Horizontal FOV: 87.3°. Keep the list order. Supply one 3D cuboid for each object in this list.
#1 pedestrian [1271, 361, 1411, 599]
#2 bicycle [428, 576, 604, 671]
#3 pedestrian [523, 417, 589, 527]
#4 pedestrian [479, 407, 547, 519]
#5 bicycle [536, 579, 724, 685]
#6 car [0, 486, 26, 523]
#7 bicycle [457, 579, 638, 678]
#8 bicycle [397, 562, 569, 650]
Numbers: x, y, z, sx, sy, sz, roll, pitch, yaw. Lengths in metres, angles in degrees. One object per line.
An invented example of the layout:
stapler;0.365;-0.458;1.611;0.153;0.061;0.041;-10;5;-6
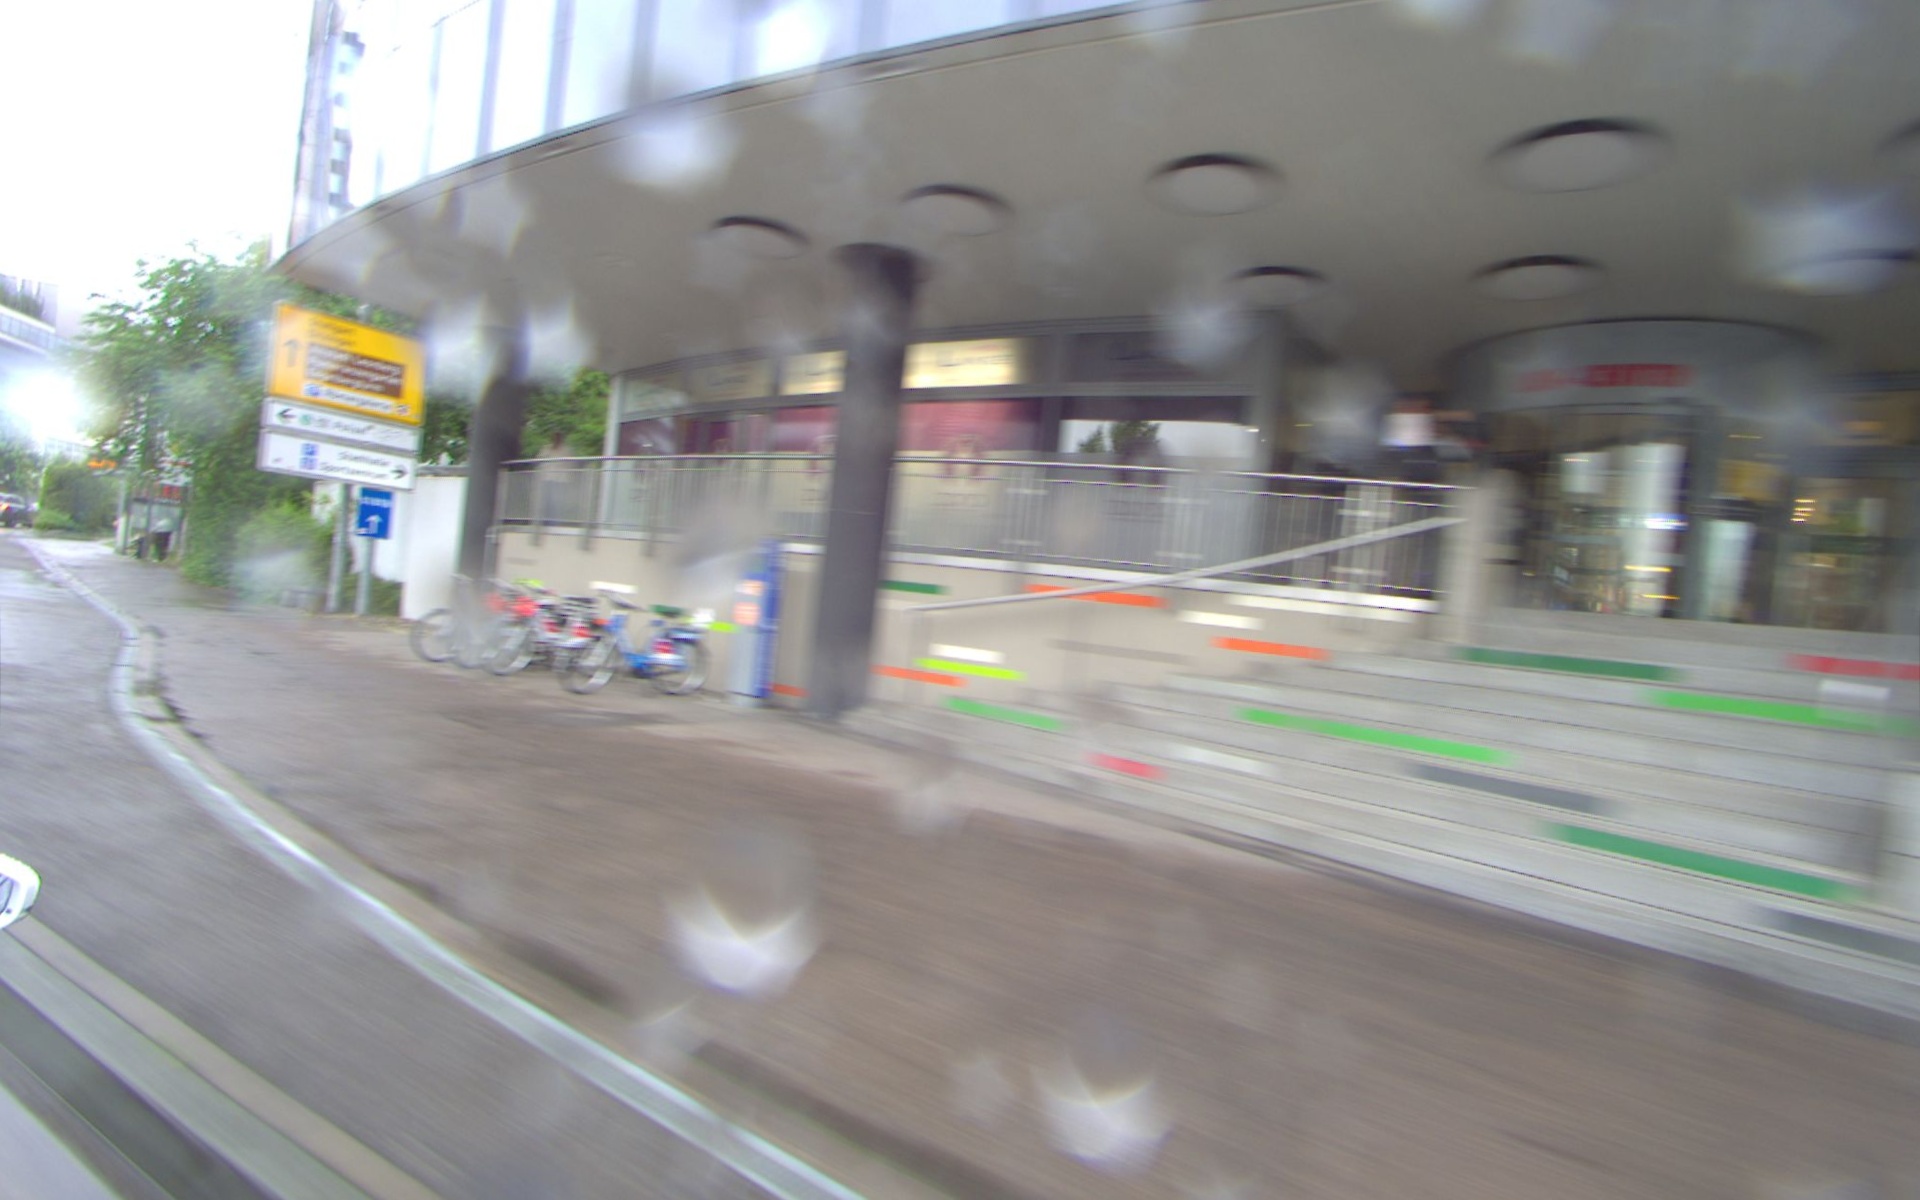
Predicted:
pedestrian;3.629;-1.111;9.543;0.819;2.037;0.951;8;0;33
bicycle;-5.405;0.316;12.347;0.620;1.046;1.846;5;0;39
pedestrian;-6.933;-2.180;17.258;0.592;1.734;0.651;8;0;44
pedestrian;-7.471;-2.274;16.807;0.592;1.734;0.651;8;0;44
bicycle;-3.557;0.379;10.995;0.623;1.036;1.846;5;0;39
car;-48.215;-4.872;50.011;1.899;1.745;3.774;8;-1;-34
bicycle;-4.825;0.361;11.876;0.638;1.056;1.846;5;0;39
bicycle;-5.987;0.095;12.708;0.529;0.963;1.844;7;2;42
